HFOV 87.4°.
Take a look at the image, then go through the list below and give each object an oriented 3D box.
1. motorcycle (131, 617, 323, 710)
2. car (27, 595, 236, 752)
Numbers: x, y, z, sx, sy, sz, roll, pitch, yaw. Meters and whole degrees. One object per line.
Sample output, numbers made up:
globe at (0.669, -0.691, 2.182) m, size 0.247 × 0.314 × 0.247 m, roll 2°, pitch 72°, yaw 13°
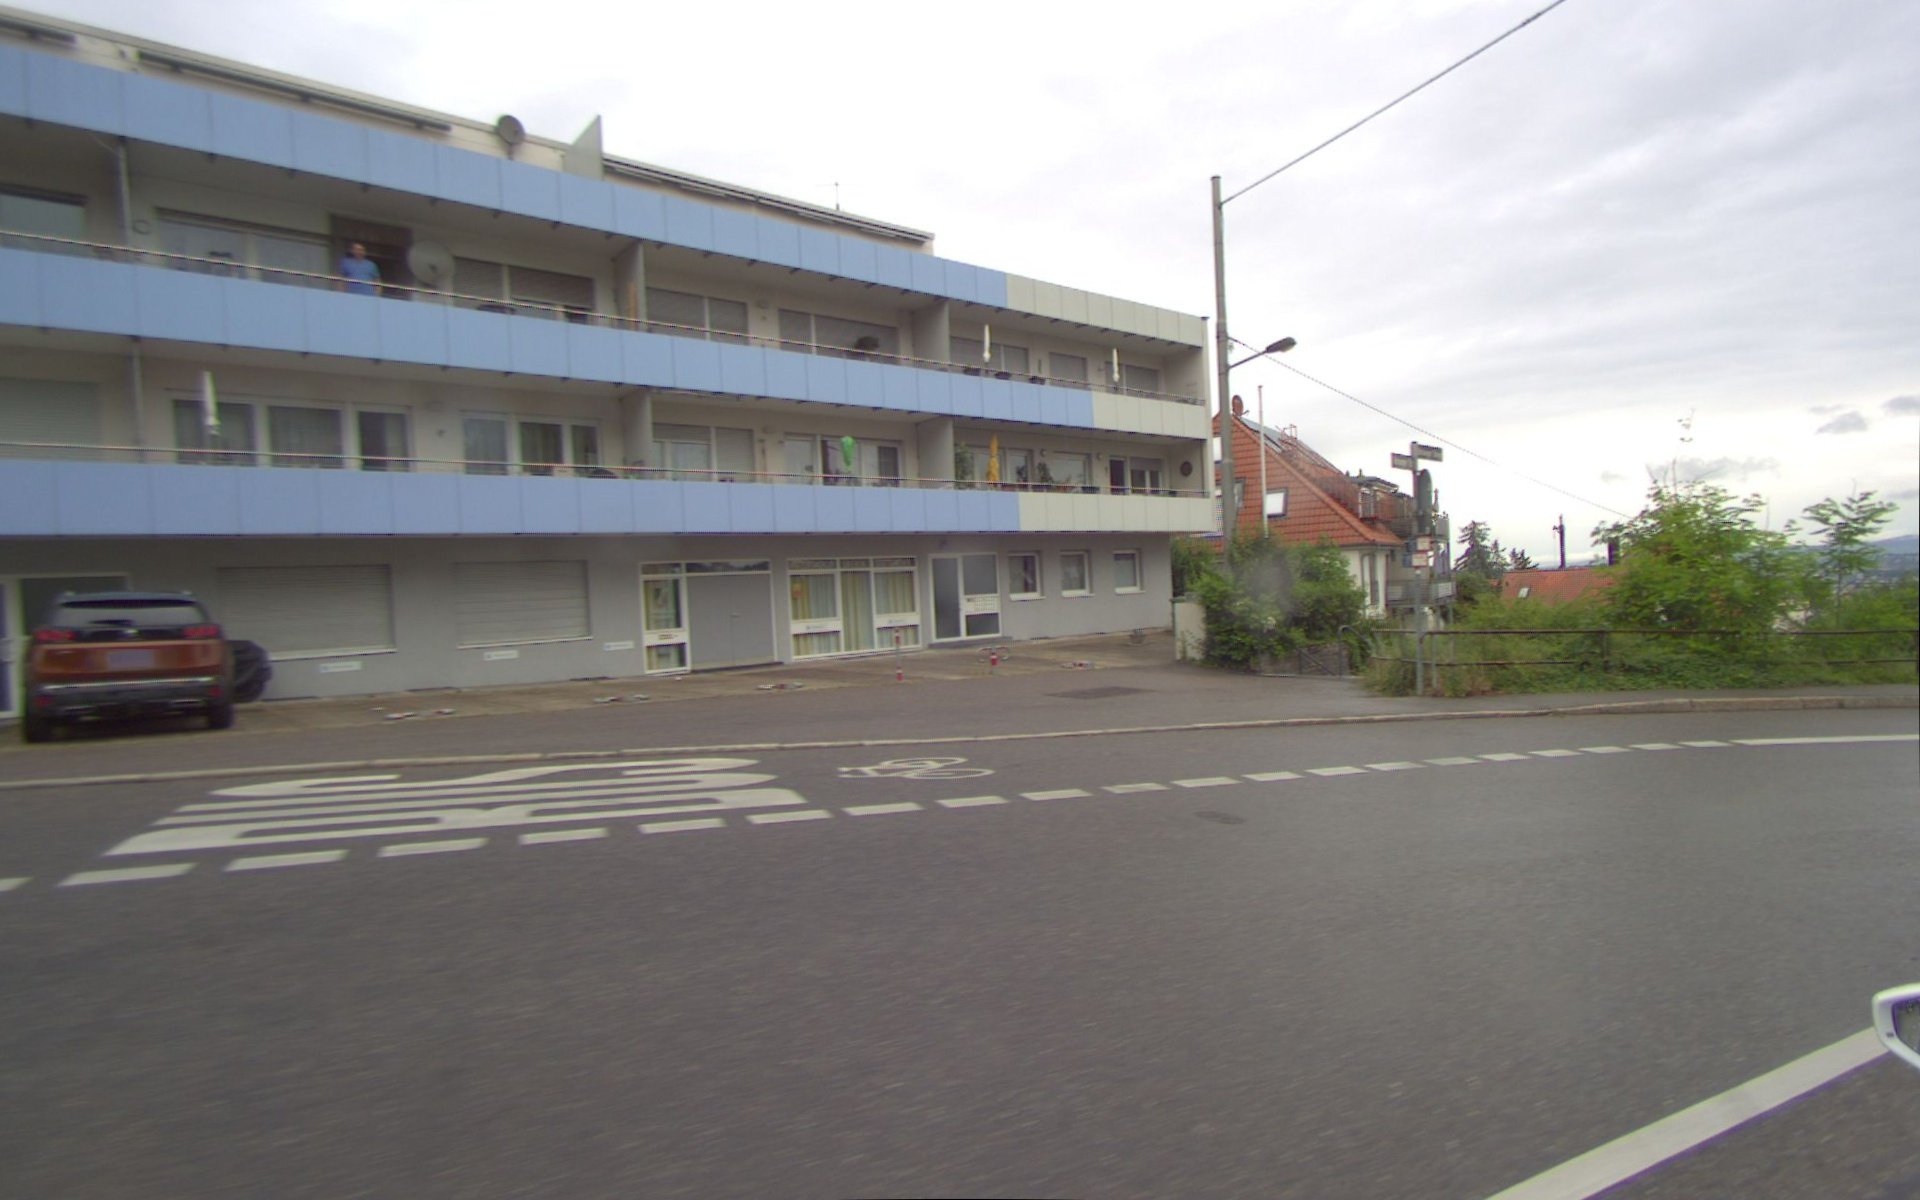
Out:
motorcycle at (-11.328, 0.954, 15.625) m, size 0.564 × 1.327 × 2.328 m, roll 1°, pitch -1°, yaw 35°
car at (-9.961, 0.796, 12.078) m, size 1.702 × 1.570 × 3.888 m, roll 0°, pitch -2°, yaw -41°
